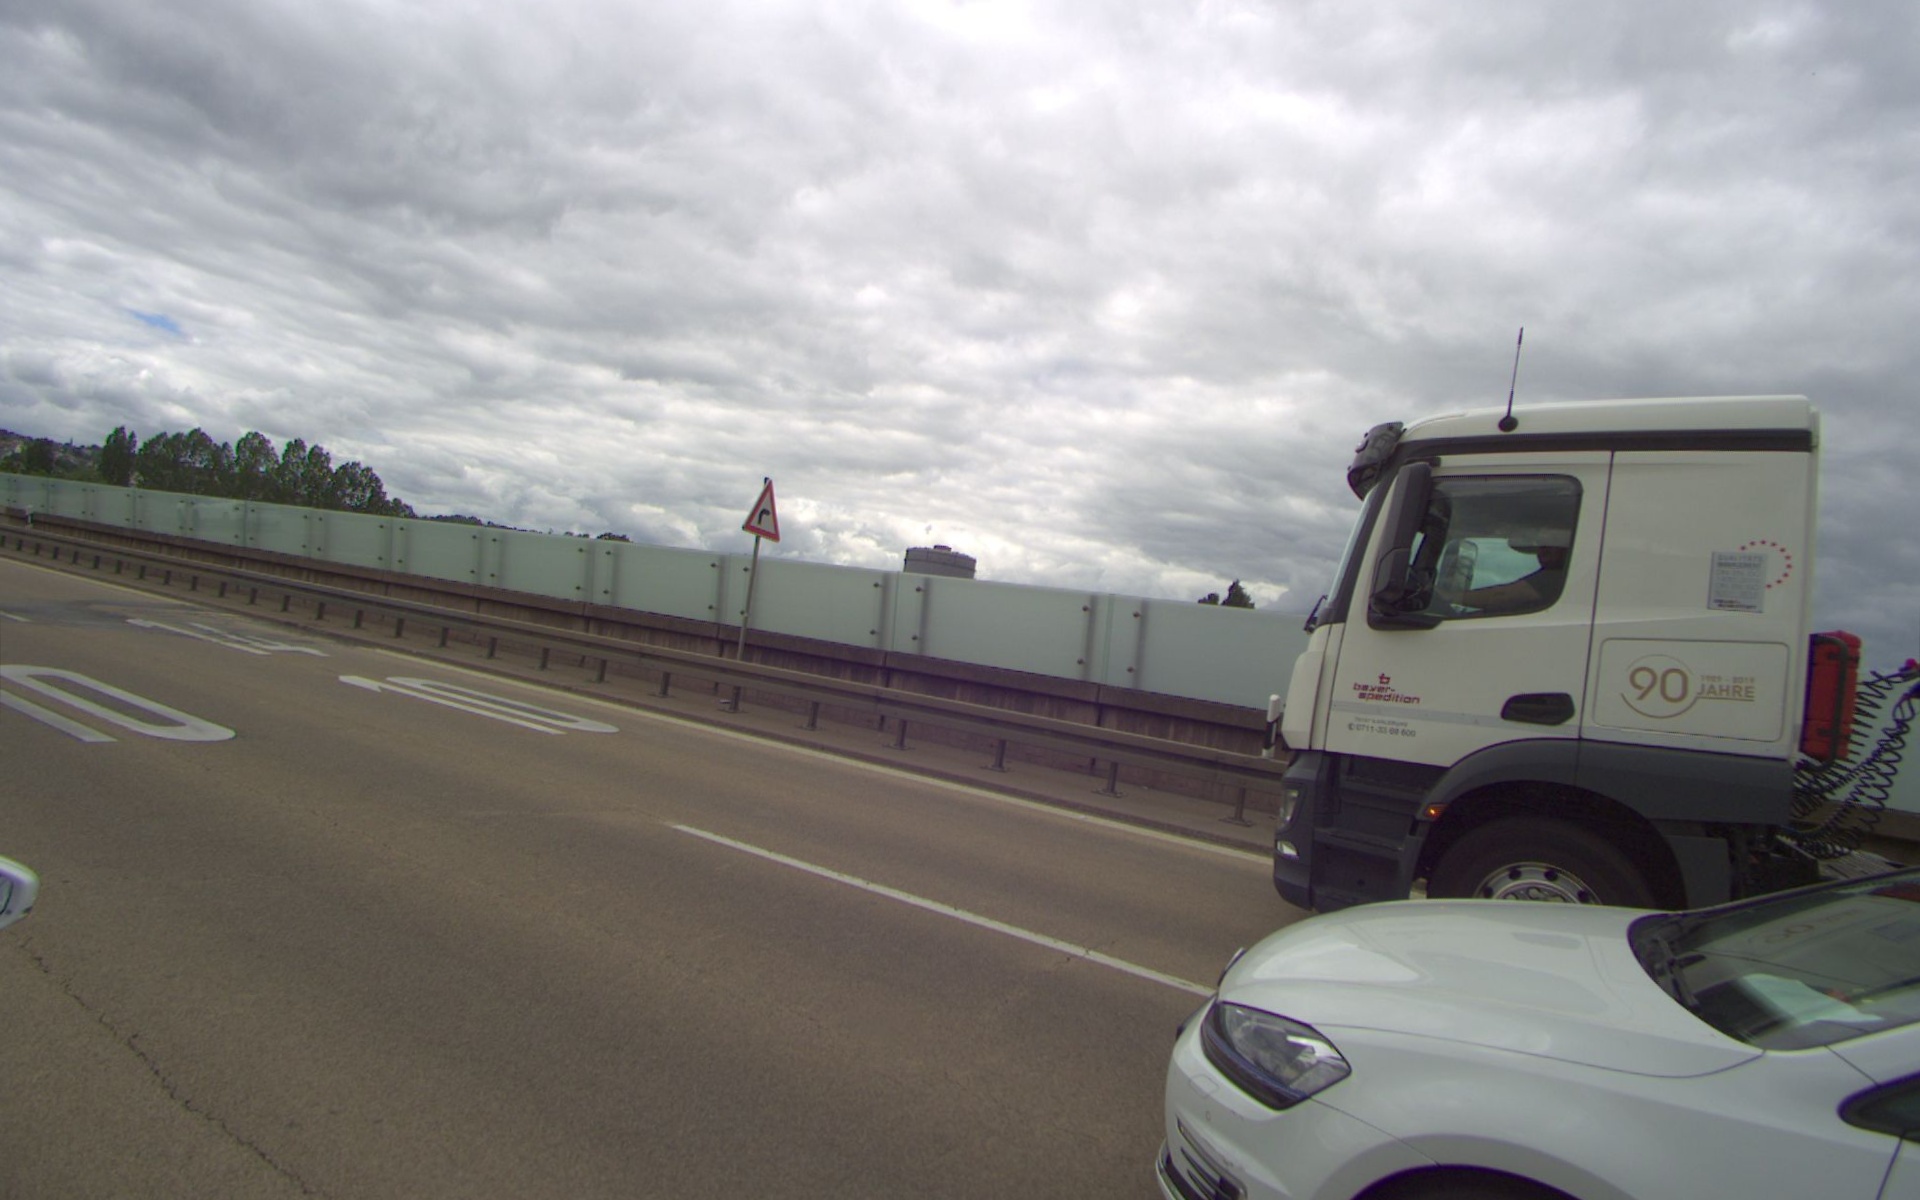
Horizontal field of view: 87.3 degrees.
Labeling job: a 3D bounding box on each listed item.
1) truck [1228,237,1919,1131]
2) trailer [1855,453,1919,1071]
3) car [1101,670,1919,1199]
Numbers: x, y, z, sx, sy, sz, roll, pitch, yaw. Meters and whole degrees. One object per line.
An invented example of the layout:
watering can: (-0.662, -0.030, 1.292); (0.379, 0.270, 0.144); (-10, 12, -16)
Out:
truck: (4.338, 0.404, 5.250); (4.823, 3.555, 2.635); (6, -2, 32)
trailer: (9.544, 1.049, 1.972); (11.035, 3.585, 2.654); (7, -1, 32)
car: (2.491, 1.162, 1.861); (4.004, 1.469, 1.757); (7, -1, 31)
